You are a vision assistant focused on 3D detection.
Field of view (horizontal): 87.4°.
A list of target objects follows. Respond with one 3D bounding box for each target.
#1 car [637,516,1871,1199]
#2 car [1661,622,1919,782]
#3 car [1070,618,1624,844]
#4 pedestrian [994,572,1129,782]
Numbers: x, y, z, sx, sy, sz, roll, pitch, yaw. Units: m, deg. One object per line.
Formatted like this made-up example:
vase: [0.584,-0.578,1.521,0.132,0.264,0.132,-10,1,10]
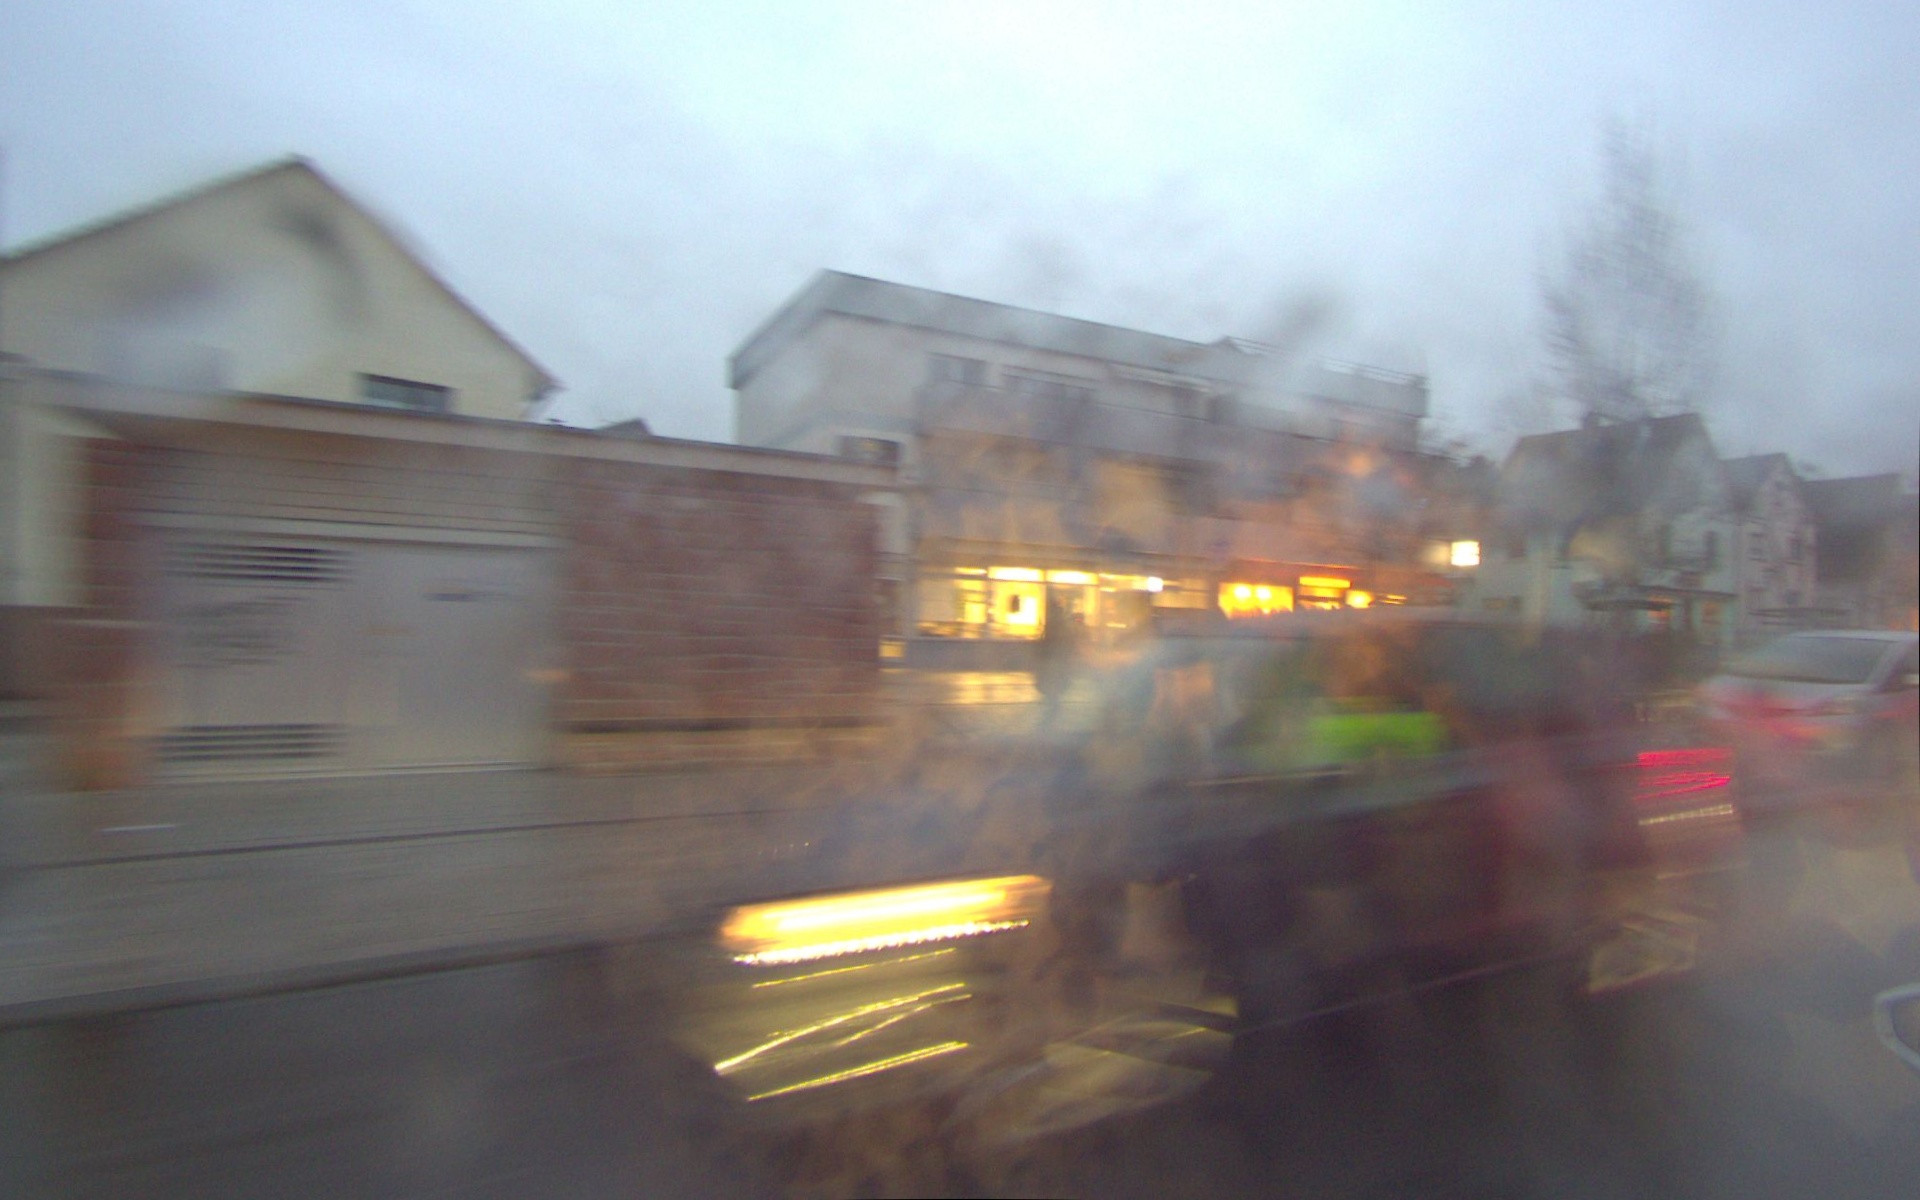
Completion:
car: [1.265,0.815,4.132,4.680,1.885,2.134,1,-1,-26]
car: [10.066,1.074,11.484,3.721,1.536,1.688,2,0,-24]
car: [3.292,0.958,8.495,4.395,1.492,1.743,2,0,-23]
pedestrian: [0.960,0.708,9.588,1.045,1.891,0.752,1,-1,-21]
